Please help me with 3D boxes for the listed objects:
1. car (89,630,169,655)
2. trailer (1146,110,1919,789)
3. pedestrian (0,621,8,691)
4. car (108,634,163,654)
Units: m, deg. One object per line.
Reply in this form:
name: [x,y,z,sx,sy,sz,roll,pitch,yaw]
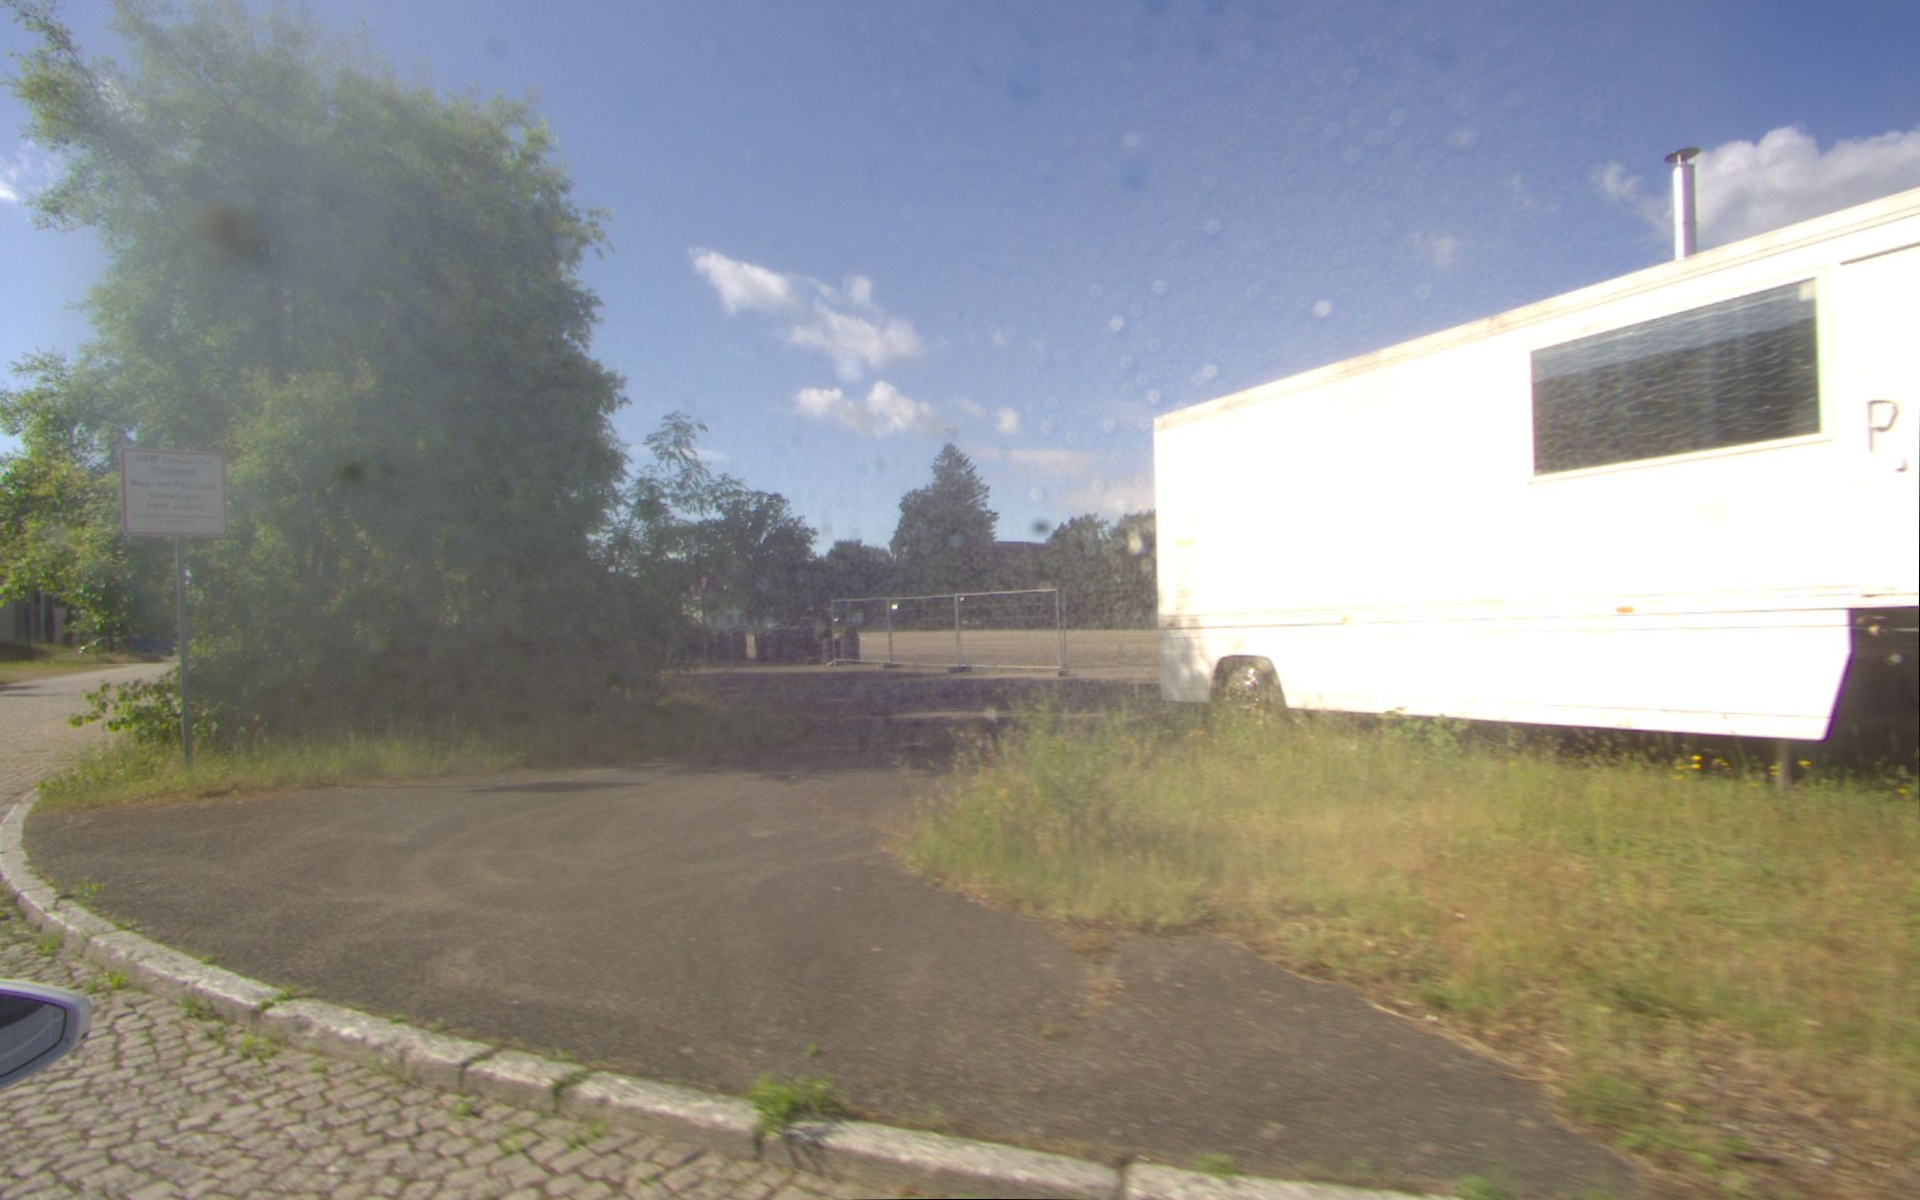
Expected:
car: [-53.119,2.704,64.102,3.797,1.460,1.572,0,-1,-35]
trailer: [6.090,-0.837,7.737,2.742,3.961,10.831,0,-1,-30]
pedestrian: [-25.203,1.450,25.803,0.787,1.803,1.062,1,-2,-34]
car: [-57.365,3.070,69.692,2.881,1.276,1.276,0,-1,-42]
